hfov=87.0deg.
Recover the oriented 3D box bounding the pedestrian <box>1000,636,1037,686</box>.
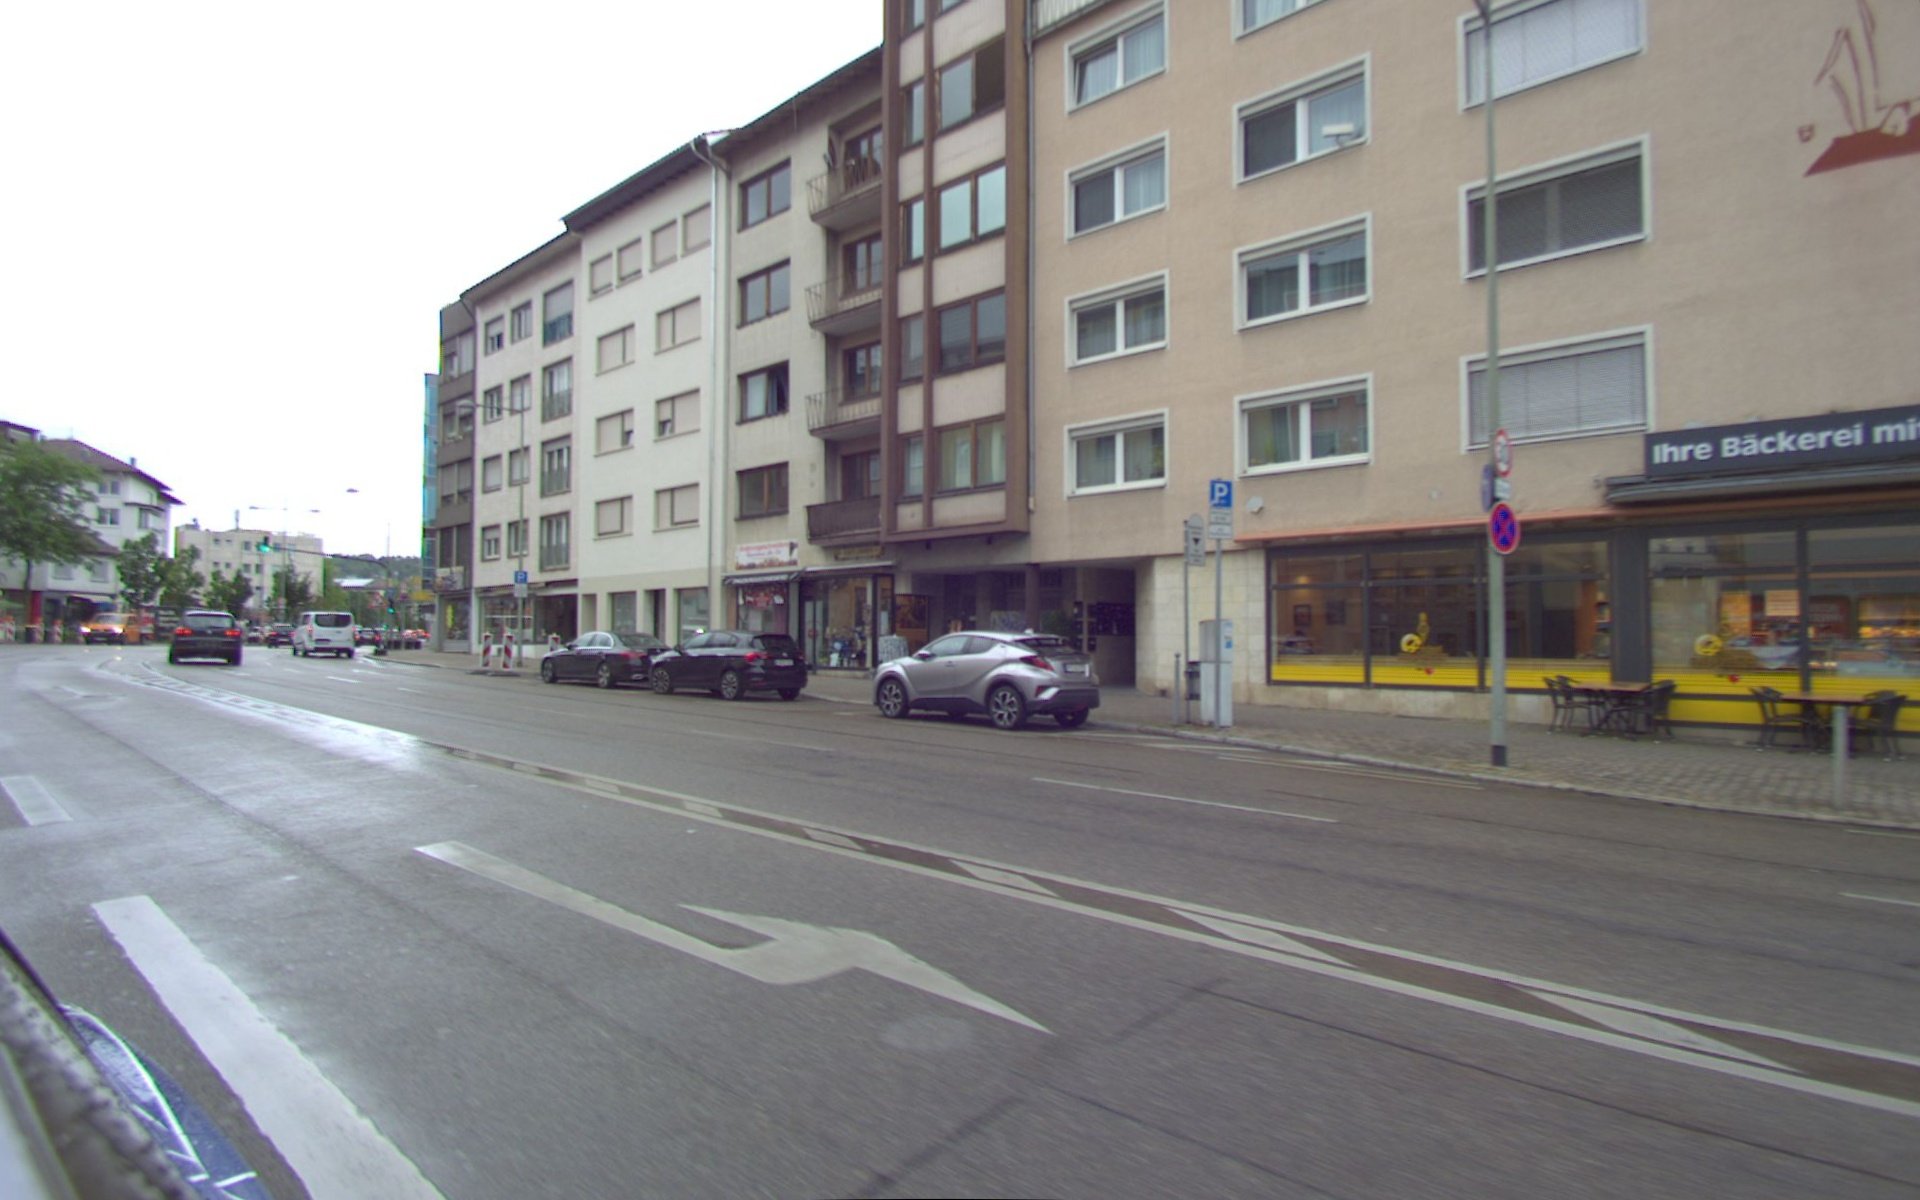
[{"bbox_3d":[1.412,1.457,24.396,0.632,1.157,0.601,-1,-2,43],"label":"pedestrian"}]

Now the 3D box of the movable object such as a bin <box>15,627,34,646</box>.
[{"bbox_3d":[-52.269,2.048,56.558,0.612,1.039,0.533,3,-5,-27],"label":"movable object such as a bin"}]

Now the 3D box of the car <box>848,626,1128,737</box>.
[{"bbox_3d":[0.344,1.263,16.935,4.633,1.566,1.886,-1,-3,45],"label":"car"}]

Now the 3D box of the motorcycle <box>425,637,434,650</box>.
[{"bbox_3d":[-46.992,3.847,89.671,0.659,1.096,2.203,-1,-1,-27],"label":"motorcycle"}]

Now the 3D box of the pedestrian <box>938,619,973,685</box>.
[{"bbox_3d":[-0.102,1.268,24.769,0.667,1.595,0.539,-1,-2,29],"label":"pedestrian"}]

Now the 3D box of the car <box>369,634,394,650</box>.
[{"bbox_3d":[-57.463,4.138,100.543,1.901,1.485,4.618,4,-4,-28],"label":"car"}]

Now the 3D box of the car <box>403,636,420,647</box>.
[{"bbox_3d":[-76.437,5.821,141.112,1.747,1.535,4.297,2,-3,-24],"label":"car"}]

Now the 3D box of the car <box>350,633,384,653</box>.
[{"bbox_3d":[-46.183,3.364,78.879,1.697,1.410,3.606,1,-4,-22],"label":"car"}]

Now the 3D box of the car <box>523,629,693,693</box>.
[{"bbox_3d":[-9.196,1.534,26.230,4.976,1.488,1.862,-1,-4,41],"label":"car"}]

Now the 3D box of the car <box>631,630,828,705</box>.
[{"bbox_3d":[-5.241,1.456,22.691,4.515,1.488,1.973,-1,-3,40],"label":"car"}]

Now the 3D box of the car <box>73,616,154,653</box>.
[{"bbox_3d":[-50.532,2.028,60.574,2.162,2.102,5.953,1,-2,-24],"label":"car"}]

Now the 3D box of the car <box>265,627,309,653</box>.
[{"bbox_3d":[-41.327,2.460,62.229,1.660,1.484,4.013,4,-4,-27],"label":"car"}]

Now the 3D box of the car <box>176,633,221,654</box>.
[{"bbox_3d":[-56.637,3.212,75.339,1.812,1.453,4.013,-1,-1,-24],"label":"car"}]

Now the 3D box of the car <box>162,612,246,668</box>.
[{"bbox_3d":[-24.213,1.268,32.344,1.839,1.659,4.261,4,-4,-40],"label":"car"}]

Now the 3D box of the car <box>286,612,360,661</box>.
[{"bbox_3d":[-29.067,1.603,46.078,2.092,2.029,5.136,-1,0,-41],"label":"car"}]
